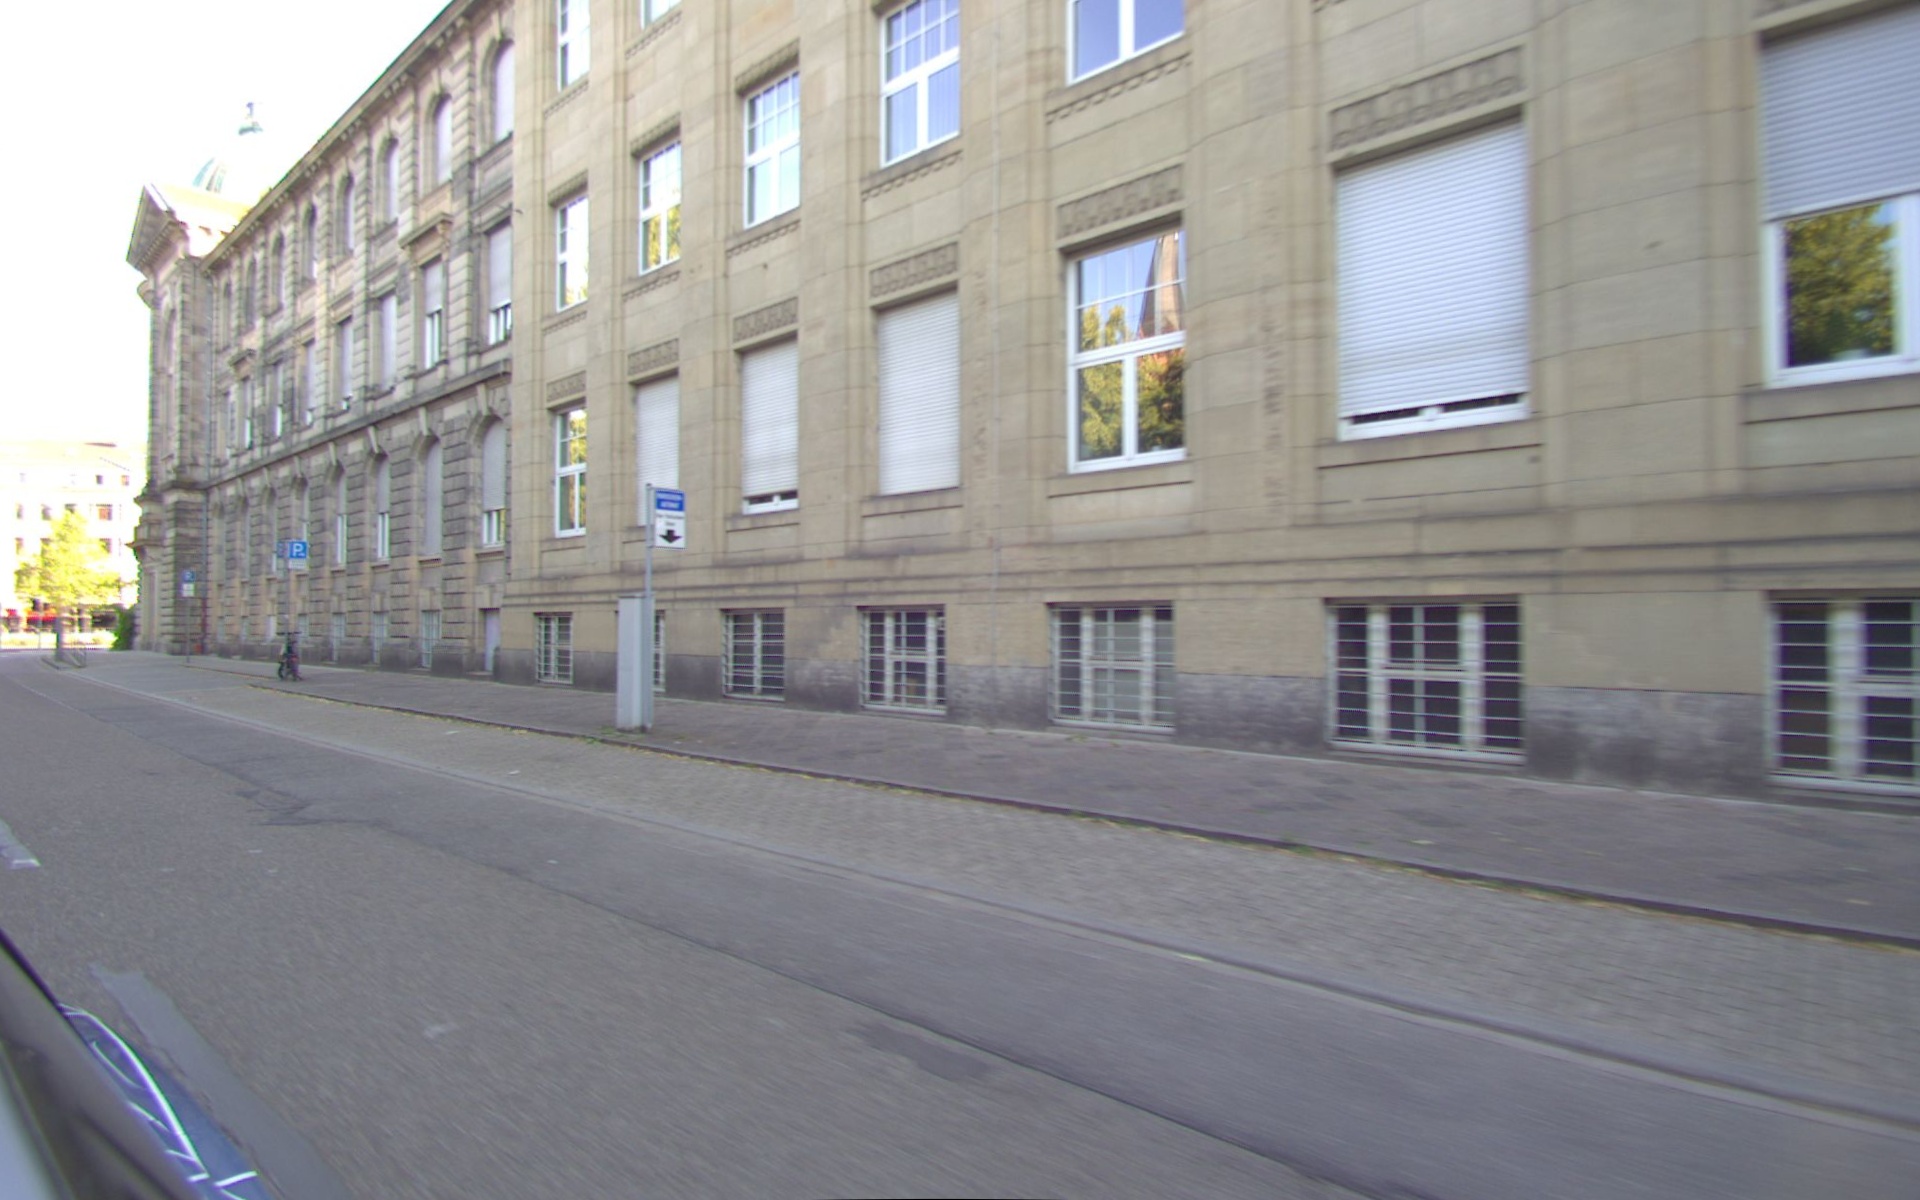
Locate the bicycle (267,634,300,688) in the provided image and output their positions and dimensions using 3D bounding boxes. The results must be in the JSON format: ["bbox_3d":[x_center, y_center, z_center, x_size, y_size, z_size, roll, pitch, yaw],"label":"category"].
[{"bbox_3d":[-15.939,1.419,23.838,0.451,1.218,1.881,2,-3,-39],"label":"bicycle"}]
